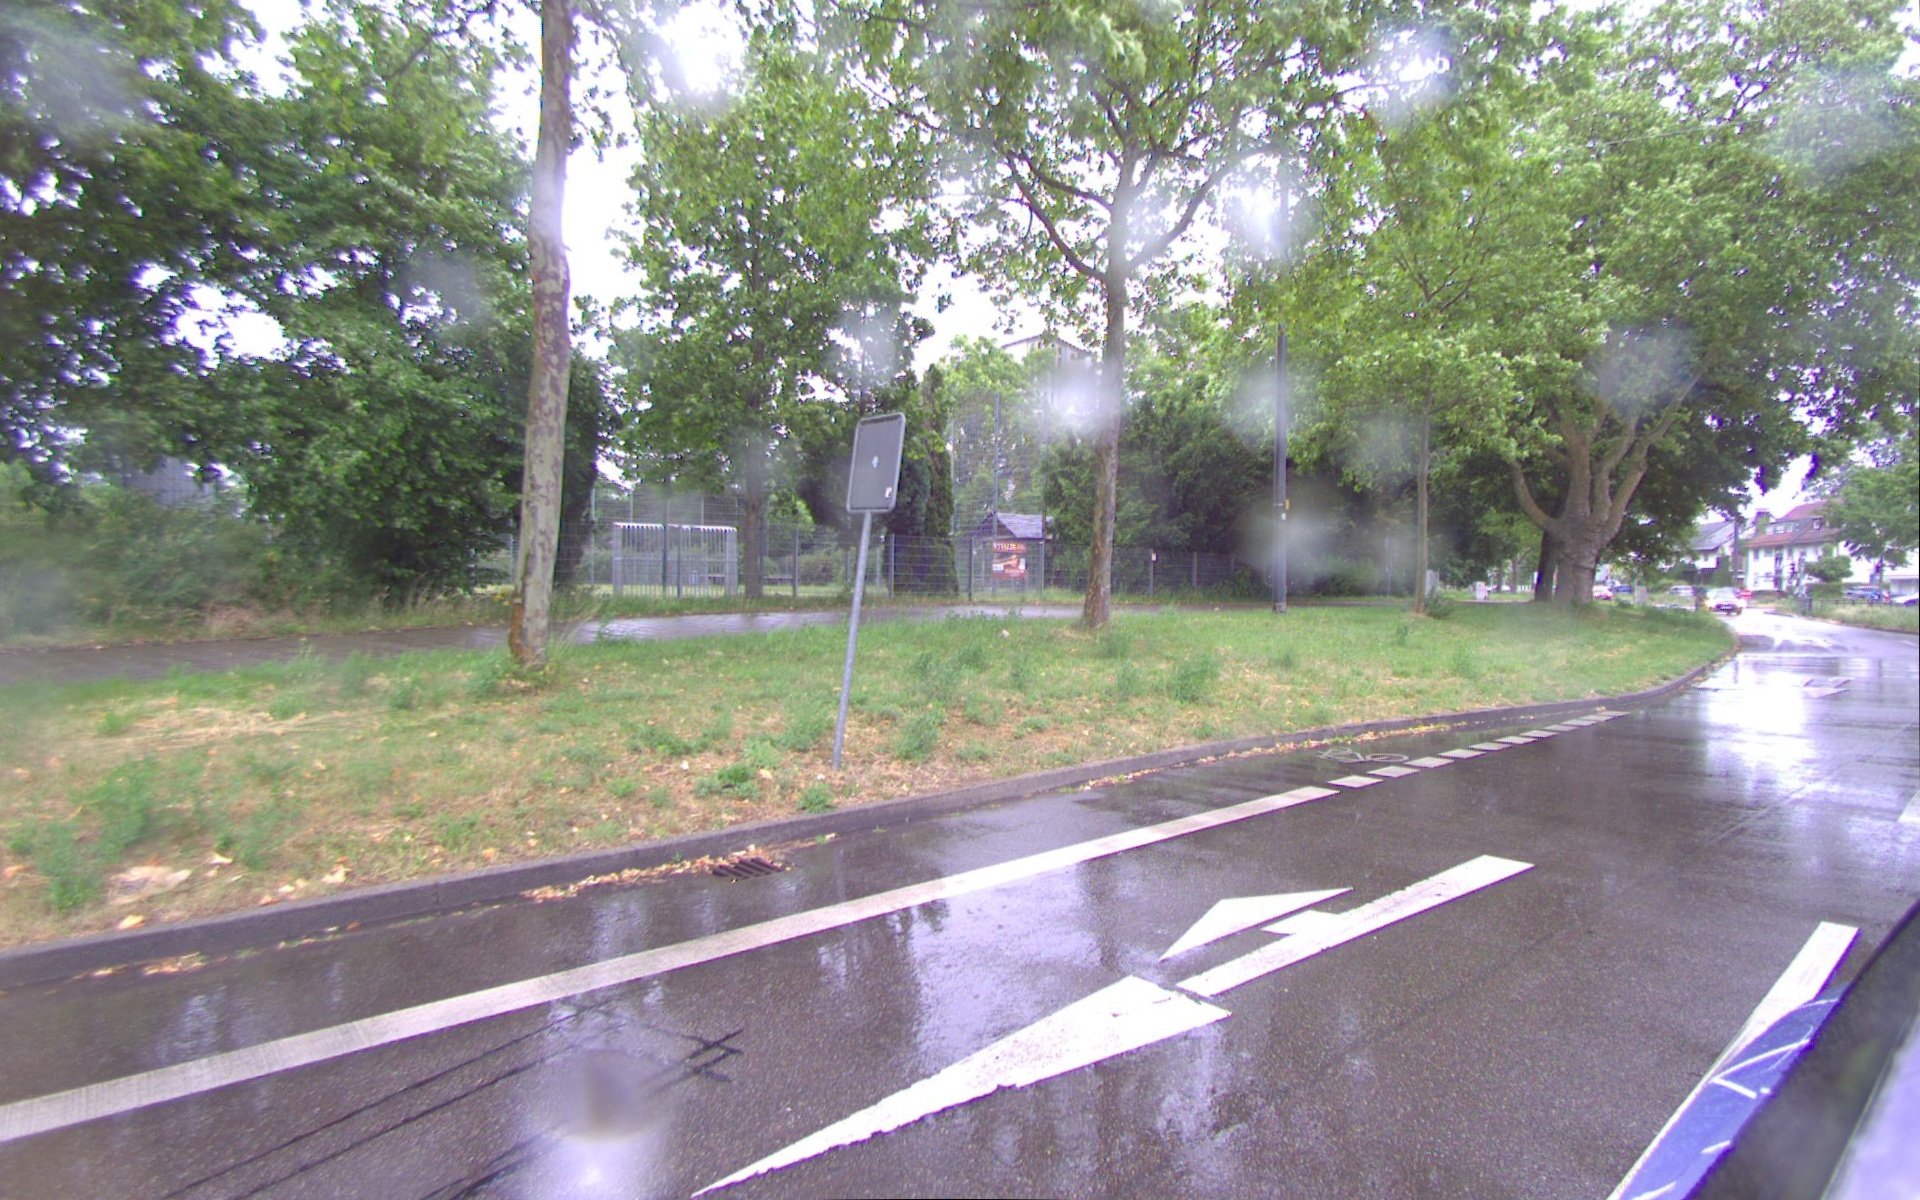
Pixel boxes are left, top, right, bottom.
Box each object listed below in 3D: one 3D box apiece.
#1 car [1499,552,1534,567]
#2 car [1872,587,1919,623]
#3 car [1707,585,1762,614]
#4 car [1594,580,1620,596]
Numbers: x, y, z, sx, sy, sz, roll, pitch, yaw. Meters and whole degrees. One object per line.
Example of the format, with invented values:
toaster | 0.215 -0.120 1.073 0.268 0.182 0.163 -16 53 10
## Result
car | 73.679 -5.302 134.034 3.958 1.850 1.983 0 0 25
car | 39.360 0.187 40.593 4.025 1.438 1.652 0 0 39
car | 44.916 -0.064 58.751 1.855 1.638 3.774 0 0 27
car | 59.832 -1.117 93.588 1.773 1.398 3.825 0 0 29
